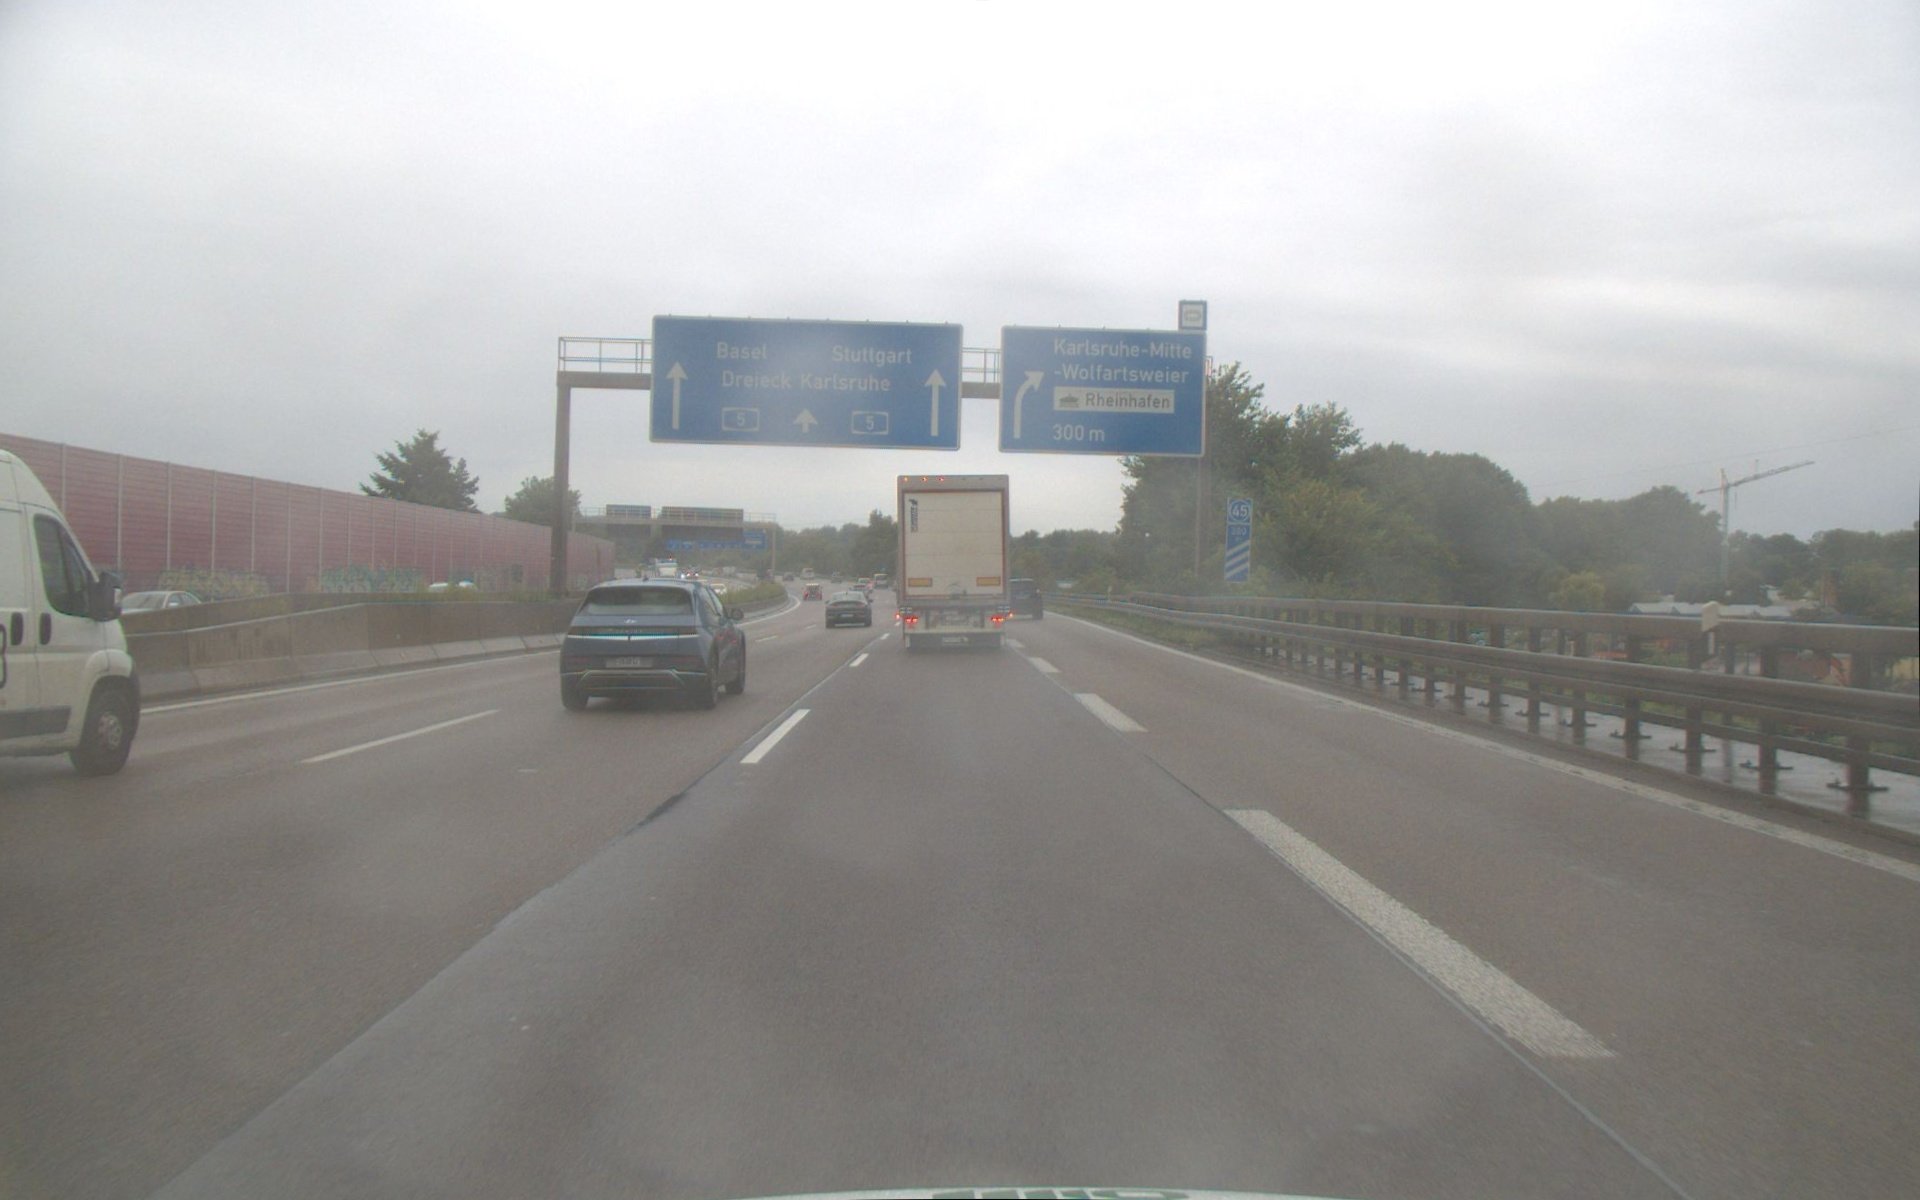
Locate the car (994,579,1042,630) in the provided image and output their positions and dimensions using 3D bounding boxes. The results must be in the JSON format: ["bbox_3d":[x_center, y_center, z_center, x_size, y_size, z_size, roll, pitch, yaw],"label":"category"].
[{"bbox_3d":[2.423,0.186,69.826,1.858,1.983,4.000,3,0,1],"label":"car"}]

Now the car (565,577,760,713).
[{"bbox_3d":[-3.913,0.557,22.600,1.801,1.622,5.155,1,0,-1],"label":"car"}]

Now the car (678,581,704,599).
[{"bbox_3d":[-27.060,-0.989,166.603,1.954,1.598,3.998,4,0,-2],"label":"car"}]

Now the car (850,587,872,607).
[{"bbox_3d":[-9.367,-0.287,156.685,1.855,1.754,4.000,1,0,0],"label":"car"}]

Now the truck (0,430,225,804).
[{"bbox_3d":[-7.562,0.113,11.376,2.192,2.522,6.581,0,0,-1],"label":"truck"}]

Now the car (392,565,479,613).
[{"bbox_3d":[-19.417,-0.404,61.397,1.954,1.598,3.998,4,0,-2],"label":"car"}]

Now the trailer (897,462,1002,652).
[{"bbox_3d":[-0.283,-1.089,44.691,2.295,4.229,14.826,1,1,0],"label":"trailer"}]

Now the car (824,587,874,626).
[{"bbox_3d":[-4.490,0.252,67.342,1.690,1.427,4.828,3,0,-1],"label":"car"}]

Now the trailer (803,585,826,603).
[{"bbox_3d":[-14.198,-0.569,161.481,1.778,1.653,4.568,3,0,0],"label":"trailer"}]

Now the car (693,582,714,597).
[{"bbox_3d":[-30.363,-1.229,195.956,1.954,1.598,3.998,4,0,-2],"label":"car"}]
